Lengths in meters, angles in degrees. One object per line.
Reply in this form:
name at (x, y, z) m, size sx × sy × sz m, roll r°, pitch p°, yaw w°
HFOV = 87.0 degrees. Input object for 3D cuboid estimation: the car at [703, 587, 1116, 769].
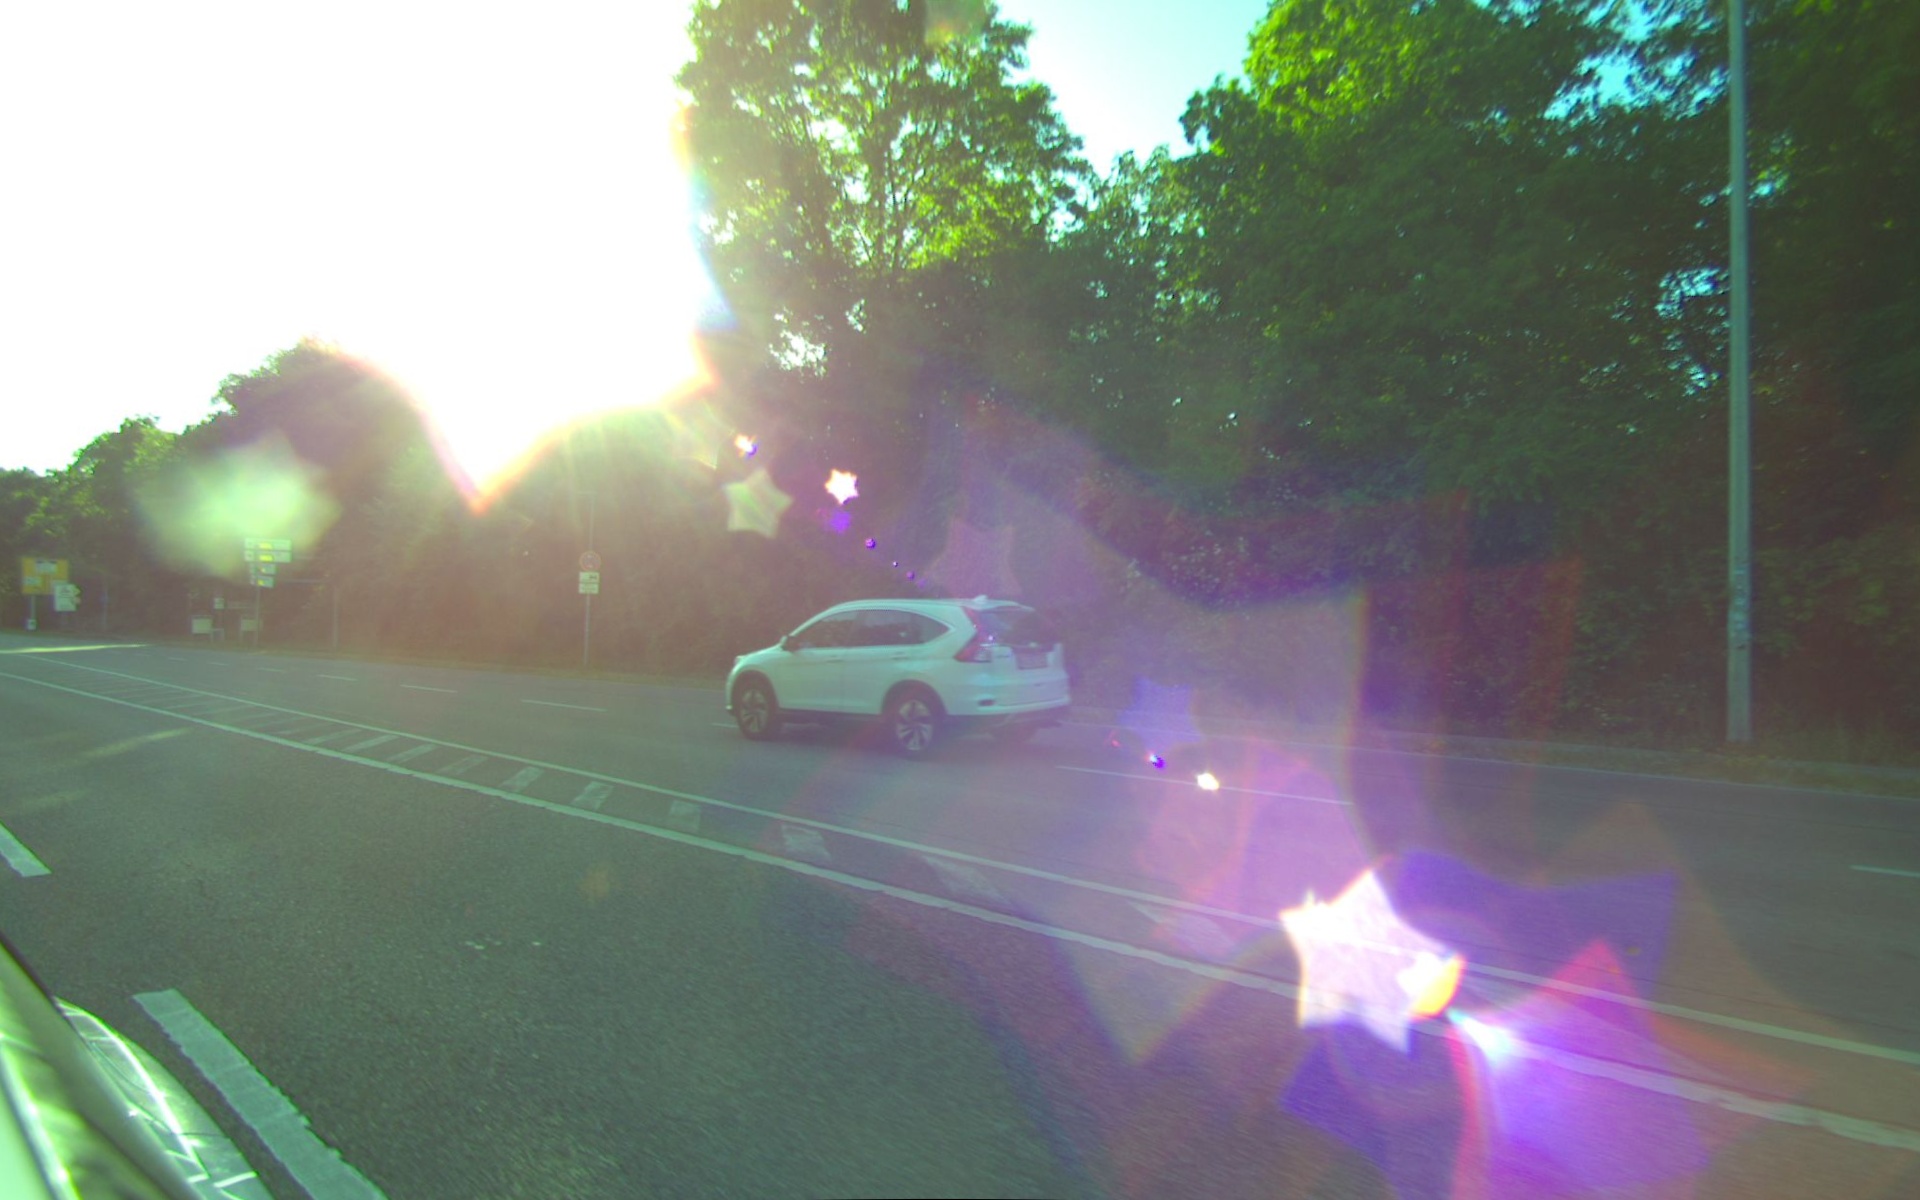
car at (-0.743, 0.766, 11.605) m, size 4.730 × 1.676 × 1.888 m, roll -1°, pitch -2°, yaw 40°
